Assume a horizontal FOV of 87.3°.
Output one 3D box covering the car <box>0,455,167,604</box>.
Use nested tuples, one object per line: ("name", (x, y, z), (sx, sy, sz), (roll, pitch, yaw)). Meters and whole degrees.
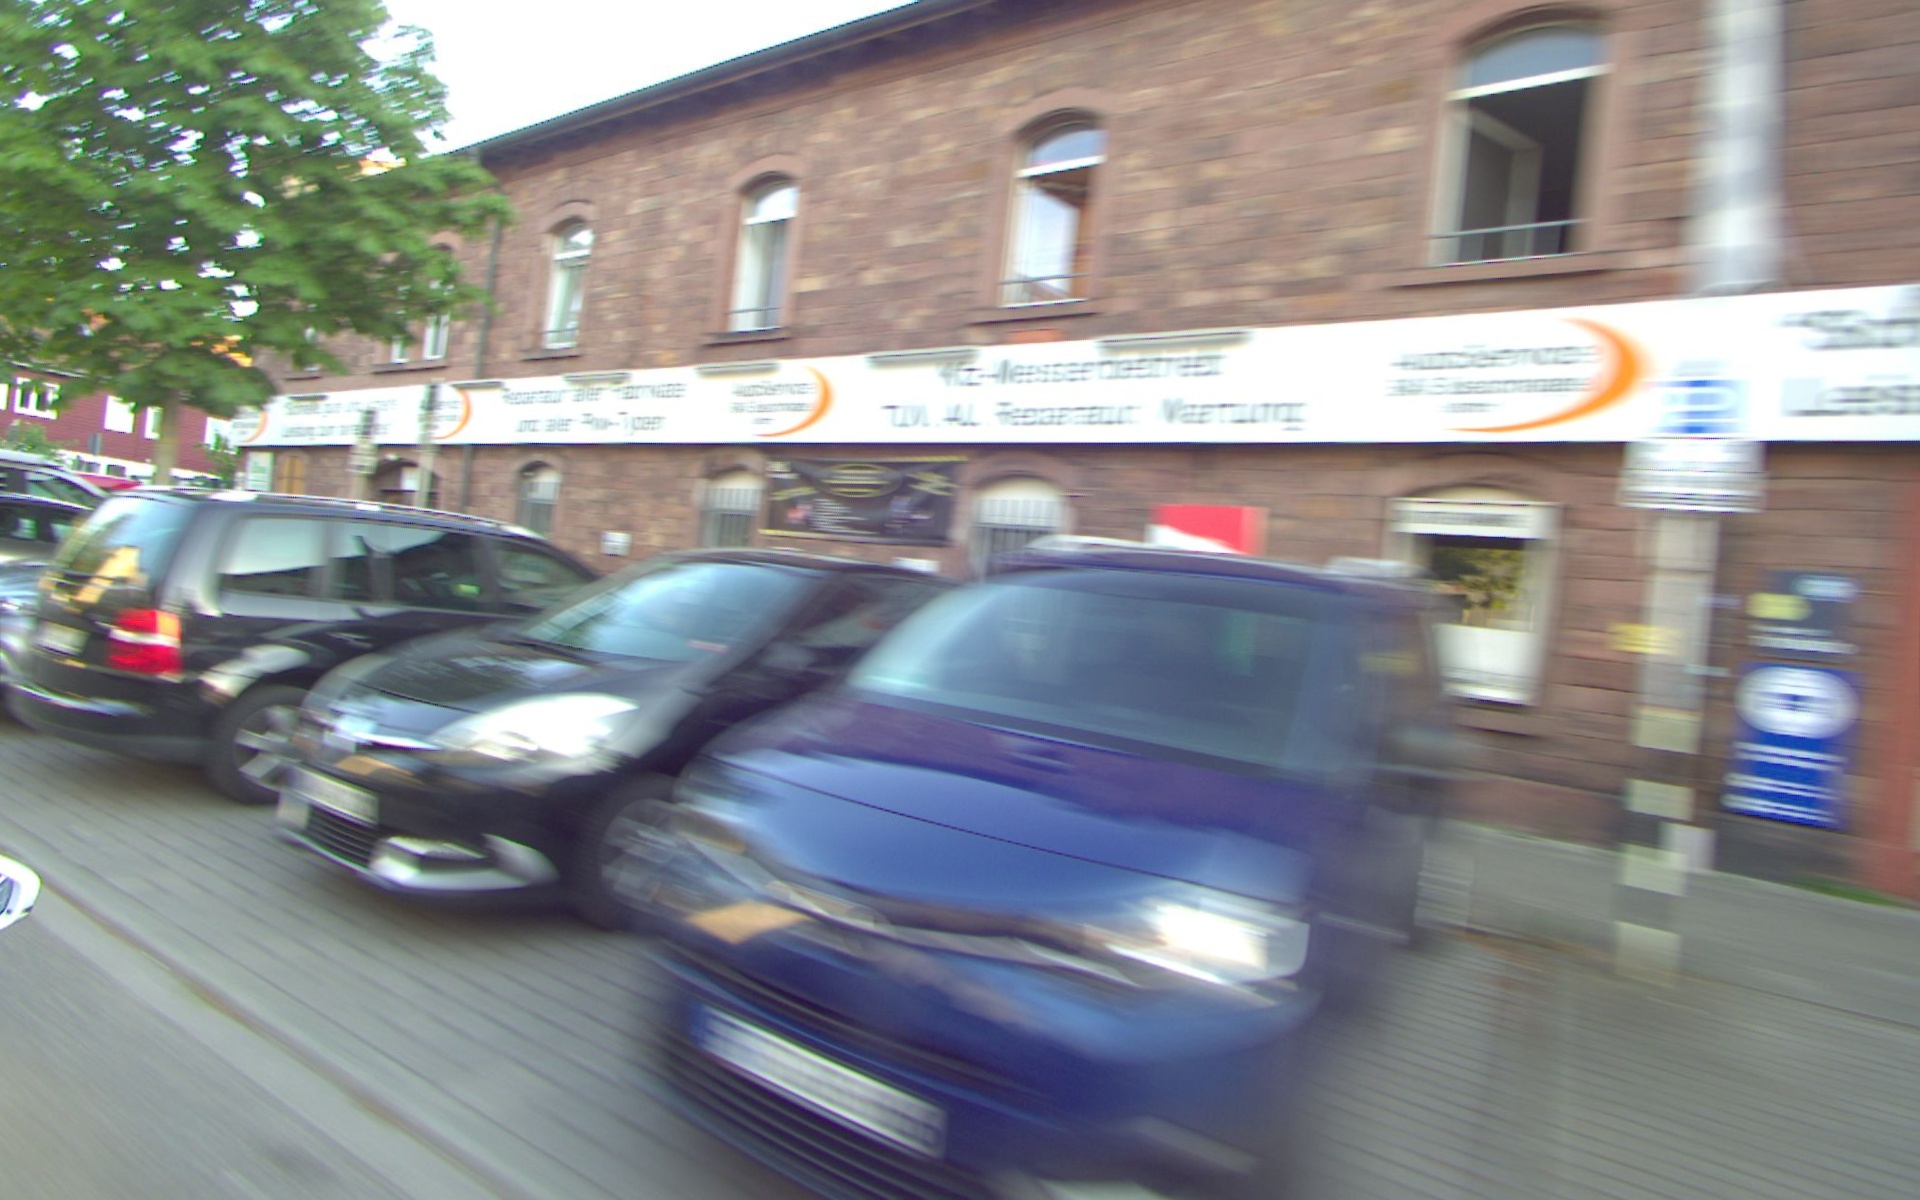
("car", (-13.675, -1.114, 13.467), (1.873, 1.820, 4.307), (6, -1, 32))

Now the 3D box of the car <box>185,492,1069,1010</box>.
("car", (-1.282, 0.494, 5.639), (1.948, 1.596, 4.415), (7, 3, 31))

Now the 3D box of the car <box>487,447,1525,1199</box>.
("car", (0.937, 0.662, 4.082), (1.984, 1.777, 4.786), (8, 3, 32))

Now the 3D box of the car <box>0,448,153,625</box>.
("car", (-12.125, -0.901, 11.480), (1.967, 1.926, 3.993), (6, -1, 31))

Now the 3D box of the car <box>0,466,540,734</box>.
("car", (-5.634, 0.065, 7.893), (1.789, 1.584, 3.955), (6, -1, 29))

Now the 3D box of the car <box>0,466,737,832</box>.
("car", (-3.648, 0.230, 6.762), (1.863, 1.640, 3.988), (6, 1, 31))

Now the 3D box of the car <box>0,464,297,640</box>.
("car", (-9.539, -0.546, 10.428), (1.747, 1.527, 3.993), (6, -2, 32))

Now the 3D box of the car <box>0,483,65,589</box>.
("car", (-15.954, -1.204, 14.299), (1.744, 1.516, 4.434), (6, -2, 32))
